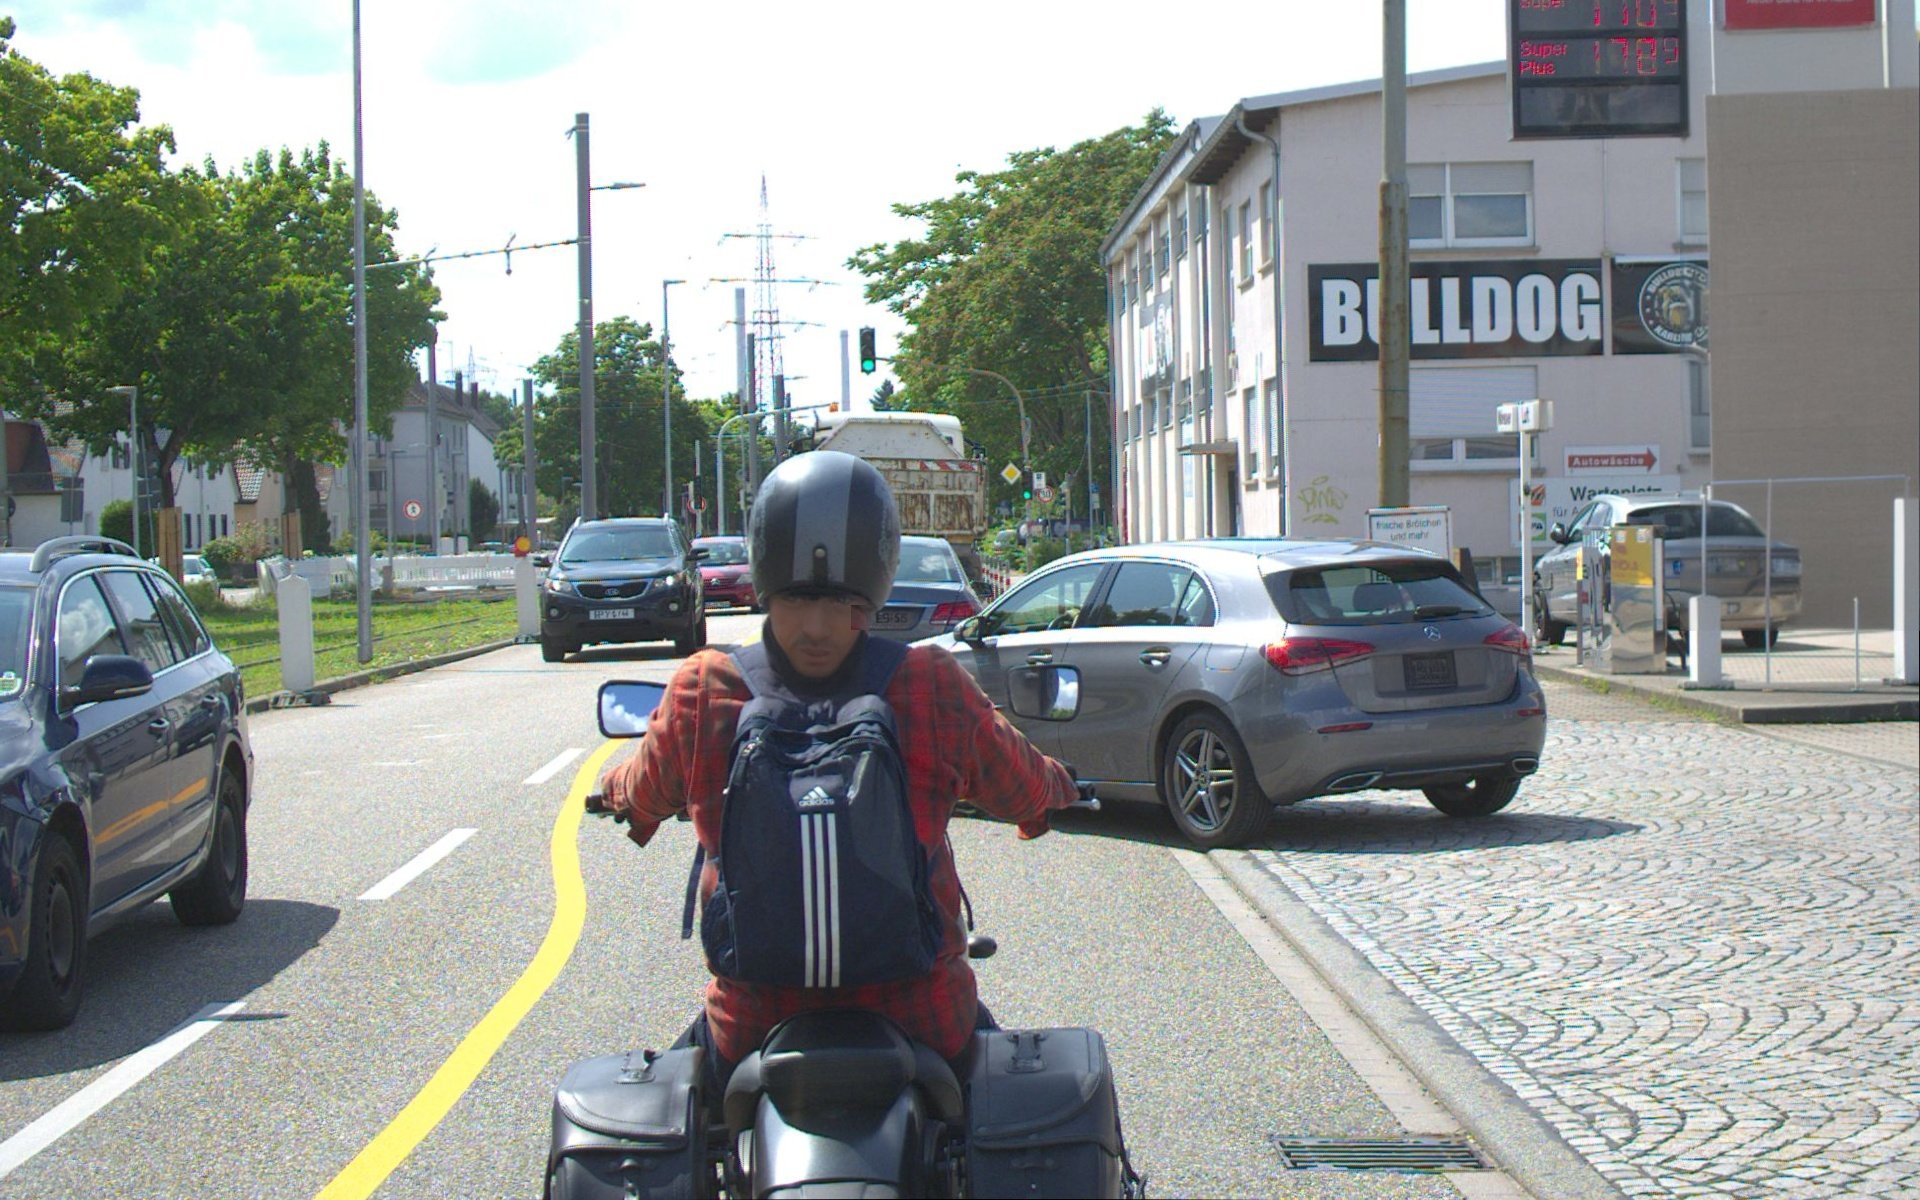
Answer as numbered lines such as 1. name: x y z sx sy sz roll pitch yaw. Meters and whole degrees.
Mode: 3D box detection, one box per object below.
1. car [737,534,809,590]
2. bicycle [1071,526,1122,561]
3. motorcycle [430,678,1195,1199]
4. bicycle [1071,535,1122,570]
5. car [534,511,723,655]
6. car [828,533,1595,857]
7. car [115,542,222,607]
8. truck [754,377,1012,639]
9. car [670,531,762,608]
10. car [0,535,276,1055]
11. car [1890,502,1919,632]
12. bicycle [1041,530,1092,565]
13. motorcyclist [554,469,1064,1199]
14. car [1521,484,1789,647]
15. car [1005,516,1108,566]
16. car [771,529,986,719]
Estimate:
1. car: -5.123 -1.044 94.500 1.821 1.440 4.484 -2 1 -2
2. bicycle: 4.638 -1.919 117.143 1.708 1.168 0.438 1 0 5
3. motorcycle: -0.203 0.786 5.511 0.942 1.196 2.473 1 1 -1
4. bicycle: 4.632 -1.612 116.635 1.708 1.168 0.438 1 0 5
5. car: -4.110 -0.226 43.208 1.796 1.684 4.221 -1 1 2
6. car: 1.145 0.396 17.525 1.731 1.399 4.086 1 1 -34
7. car: -17.301 -0.563 75.273 1.521 1.349 3.621 1 1 -1
8. truck: -0.882 -1.163 45.813 2.967 3.162 7.763 1 1 2
9. car: -4.794 -0.605 67.950 1.578 1.464 3.720 1 1 -1
10. car: -3.641 0.556 11.657 1.711 1.481 4.537 -2 1 0
11. car: 11.743 -0.388 37.559 1.691 1.466 4.424 -2 1 -3
12. bicycle: 3.633 -1.789 117.710 1.708 1.168 0.438 1 0 5
13. motorcyclist: -0.219 0.618 5.143 0.698 1.599 0.692 1 0 -1
14. car: 7.329 -0.389 36.721 1.945 1.619 4.616 0 1 0
15. car: 3.846 -2.344 136.337 1.802 1.919 3.989 1 1 45
16. car: -0.622 0.150 28.729 1.644 1.439 3.748 1 1 1
